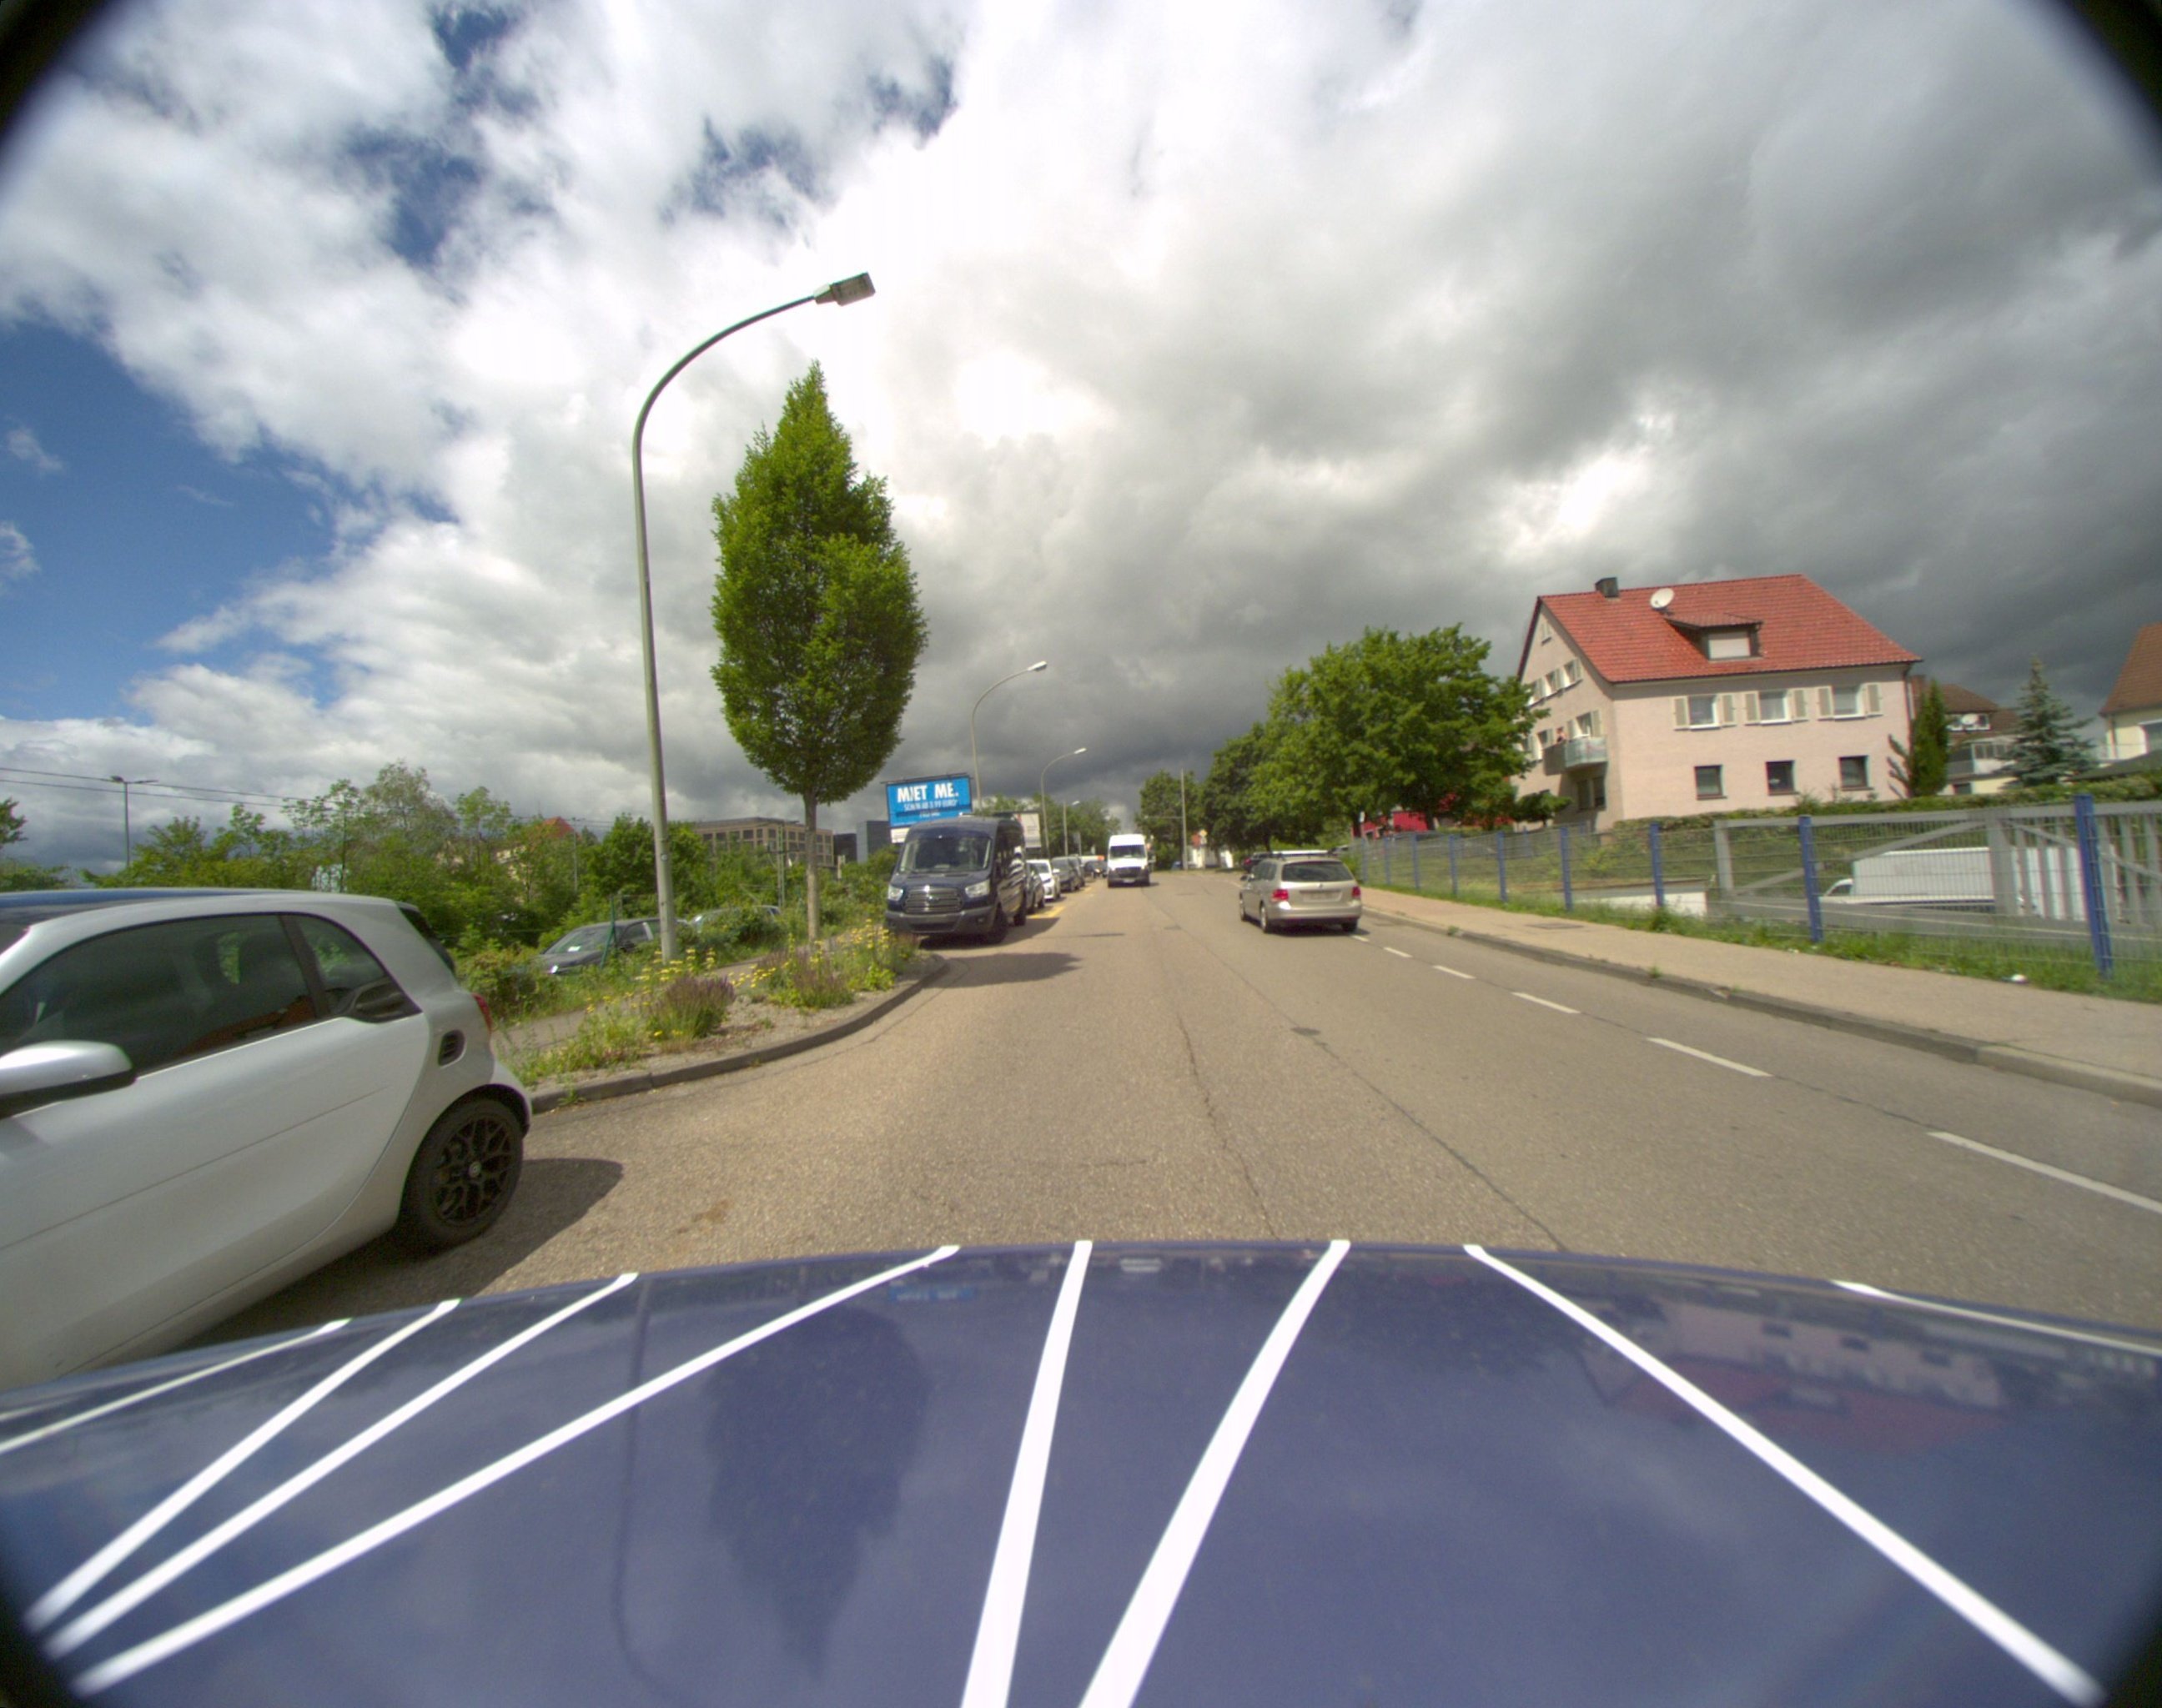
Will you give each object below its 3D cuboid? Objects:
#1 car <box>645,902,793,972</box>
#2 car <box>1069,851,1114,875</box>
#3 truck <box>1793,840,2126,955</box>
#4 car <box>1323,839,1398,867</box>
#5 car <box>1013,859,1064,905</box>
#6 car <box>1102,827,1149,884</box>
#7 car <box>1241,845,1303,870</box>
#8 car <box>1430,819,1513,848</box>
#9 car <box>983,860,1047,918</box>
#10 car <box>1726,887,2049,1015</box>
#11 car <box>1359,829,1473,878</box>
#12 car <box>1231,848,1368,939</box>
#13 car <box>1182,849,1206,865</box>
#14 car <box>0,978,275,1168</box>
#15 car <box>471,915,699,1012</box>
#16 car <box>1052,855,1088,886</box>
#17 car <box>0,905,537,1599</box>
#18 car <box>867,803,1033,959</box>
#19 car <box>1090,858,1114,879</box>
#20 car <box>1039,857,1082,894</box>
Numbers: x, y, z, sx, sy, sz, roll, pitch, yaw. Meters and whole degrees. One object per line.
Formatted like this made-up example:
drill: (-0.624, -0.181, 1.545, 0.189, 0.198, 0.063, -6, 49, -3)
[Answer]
car: (-9.726, 2.179, 20.835, 1.820, 1.343, 4.301, -2, 0, 2)
car: (1.278, 1.029, 89.009, 5.140, 2.576, 1.957, -3, 1, -39)
truck: (24.436, 1.035, 21.781, 2.321, 2.716, 6.595, -2, 1, 6)
car: (16.510, -0.073, 44.986, 3.856, 1.497, 1.586, -2, 1, 3)
car: (-1.459, 0.958, 27.112, 1.402, 1.424, 3.445, -2, 0, 3)
car: (2.347, 0.049, 38.418, 2.081, 2.576, 6.064, -2, 1, 5)
car: (12.837, 0.198, 51.227, 3.855, 1.497, 1.586, -2, 1, 6)
car: (22.836, -1.175, 44.530, 4.016, 1.497, 1.586, -2, 1, 6)
car: (-1.840, 0.965, 22.048, 1.334, 1.446, 3.367, -2, 0, 3)
car: (14.961, 1.755, 14.294, 3.996, 2.002, 1.852, -2, 1, 2)
car: (13.689, -0.019, 31.178, 3.954, 1.766, 1.523, -2, 1, -1)
car: (4.239, 0.682, 15.391, 1.646, 1.523, 4.222, -2, 0, 2)
car: (15.974, 0.421, 107.186, 1.957, 1.958, 5.139, -2, 1, 25)
car: (-10.753, 2.213, 6.916, 1.820, 1.343, 4.556, -2, 0, 2)
car: (-10.133, 2.181, 16.008, 1.820, 1.343, 4.301, -2, 0, 2)
car: (-0.544, 0.828, 40.070, 1.584, 1.497, 3.958, -2, 0, 3)
car: (-3.383, 1.033, 2.147, 1.597, 1.514, 2.857, -3, 0, -1)
car: (-2.415, 0.446, 15.788, 2.059, 2.579, 5.735, -2, 0, 3)
car: (1.569, 1.080, 58.012, 1.585, 1.497, 3.956, -2, 0, -2)
car: (-0.866, 0.913, 33.698, 1.522, 1.446, 3.958, -2, 0, 3)
